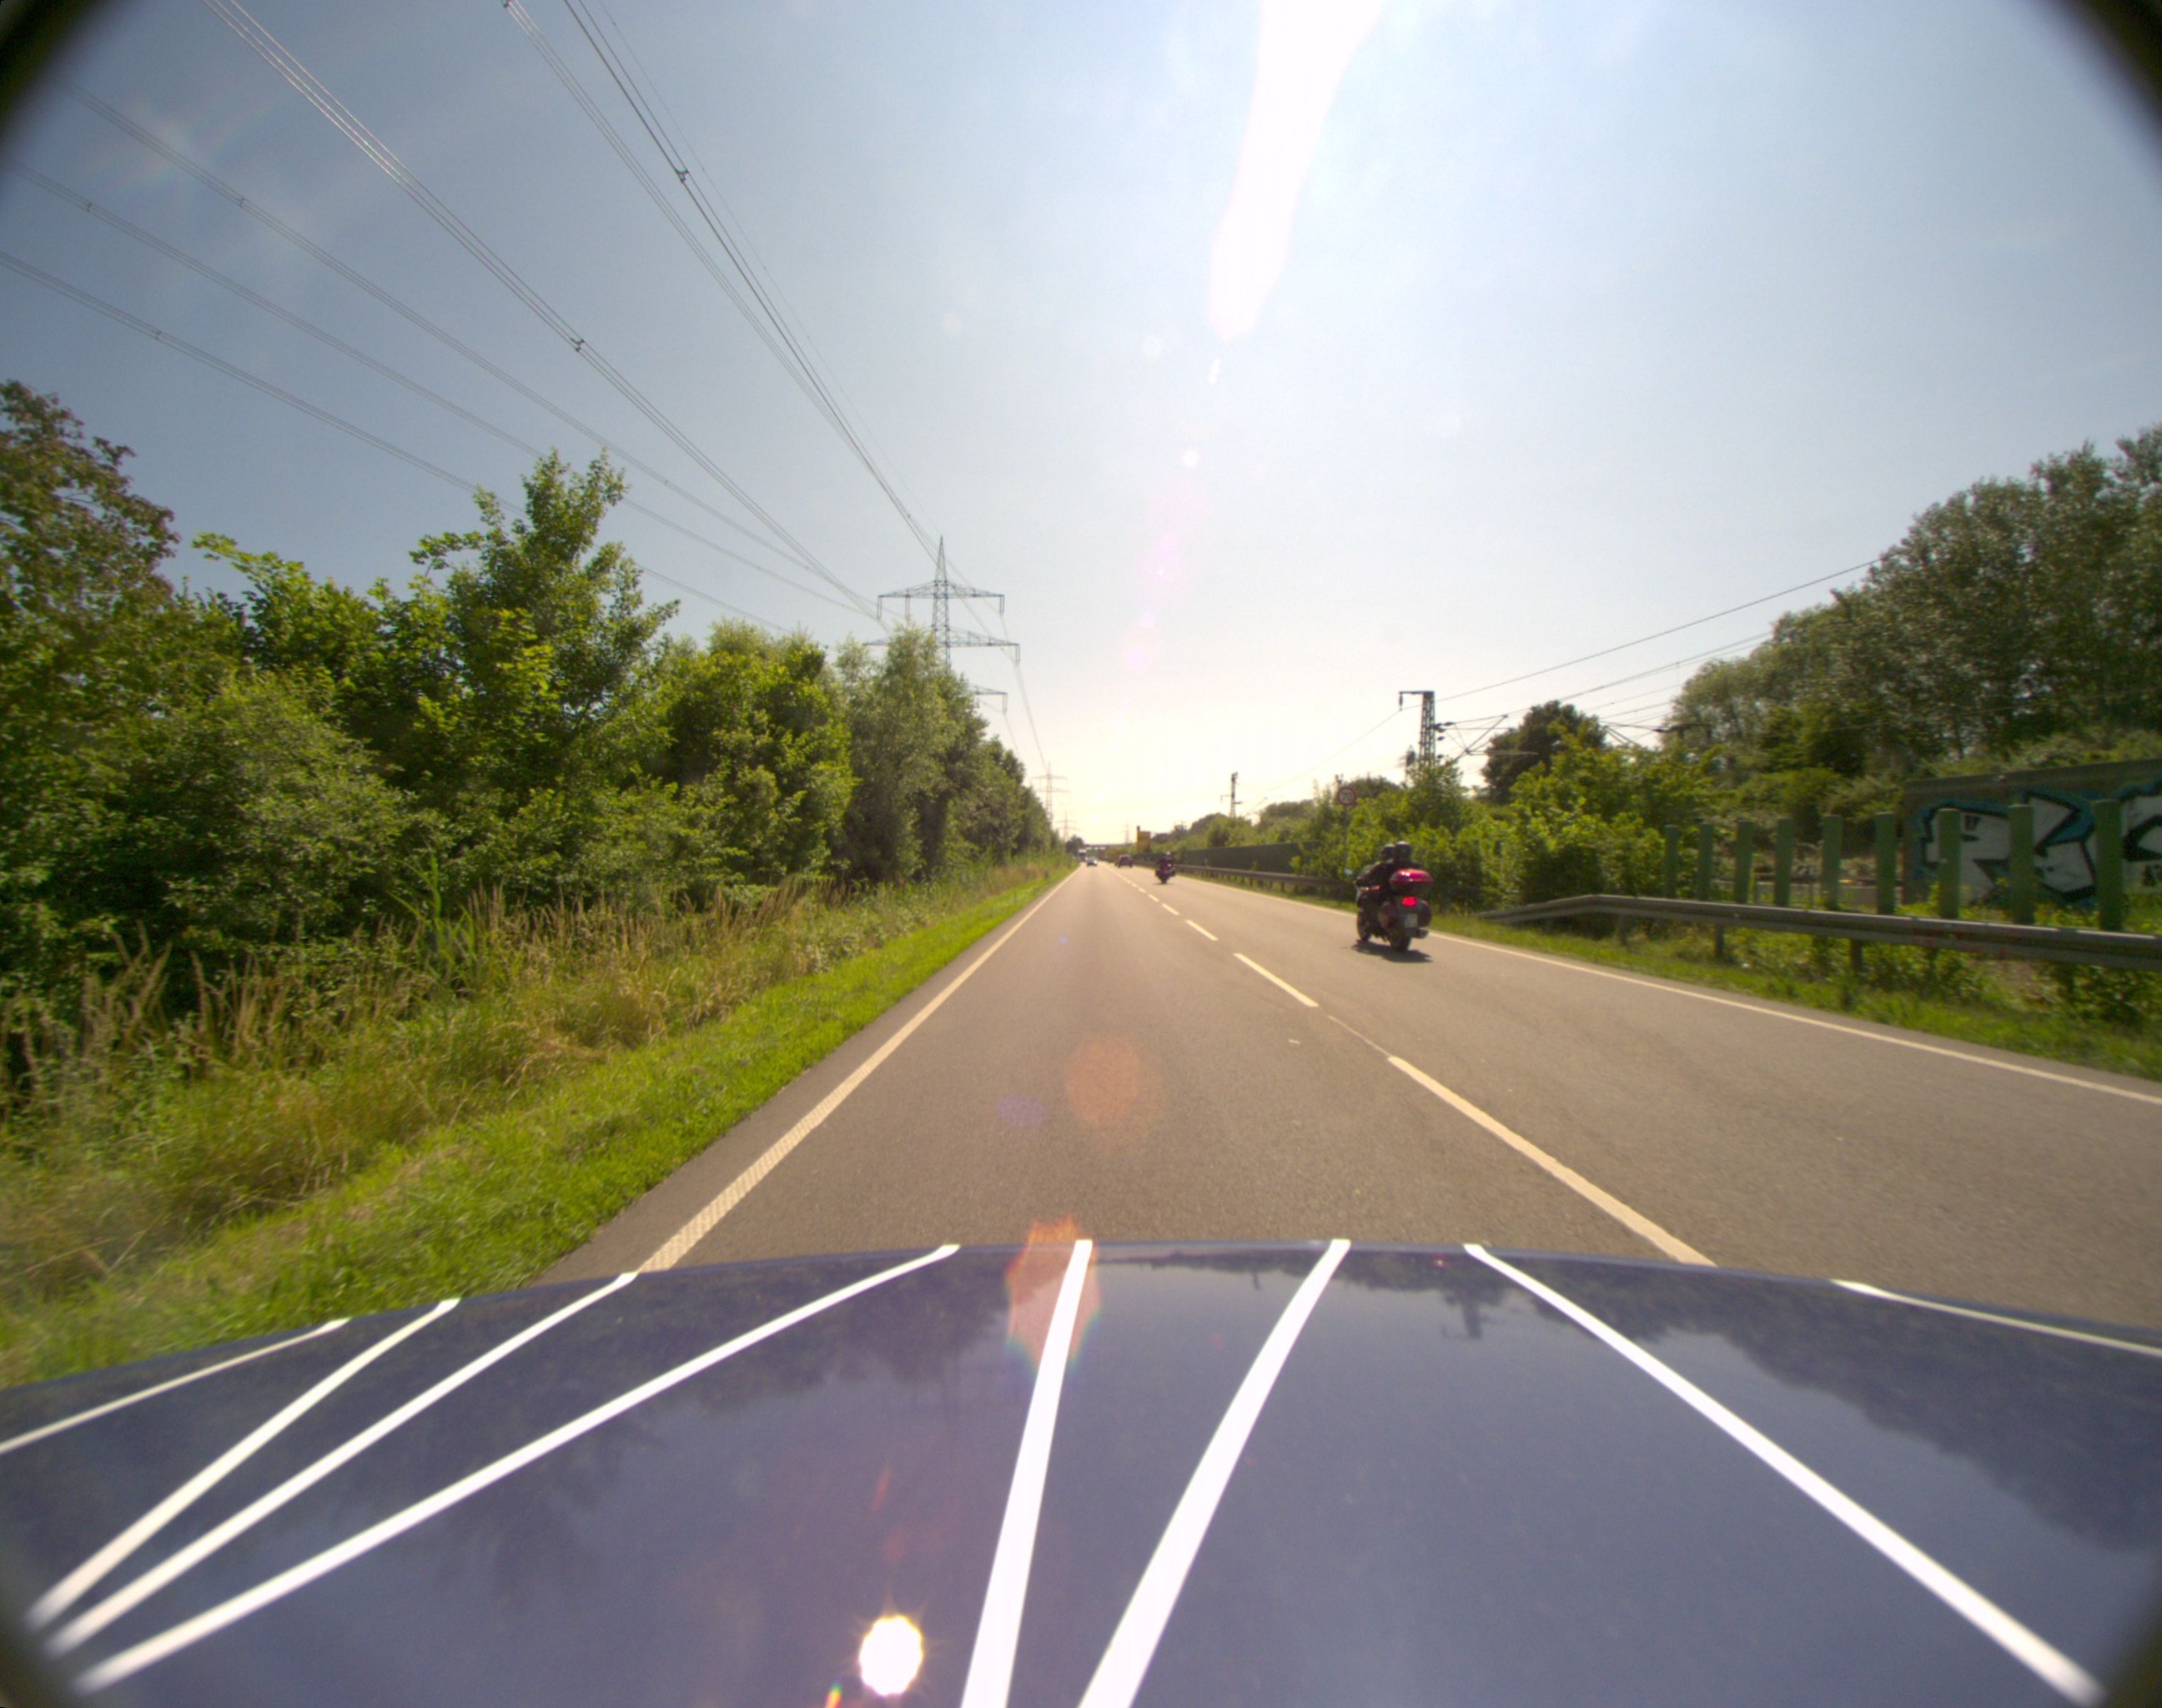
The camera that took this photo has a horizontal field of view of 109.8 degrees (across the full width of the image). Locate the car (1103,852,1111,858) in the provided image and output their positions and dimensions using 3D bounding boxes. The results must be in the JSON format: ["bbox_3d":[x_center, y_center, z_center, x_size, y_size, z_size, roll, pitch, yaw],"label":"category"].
[{"bbox_3d":[6.930,0.149,202.425,1.806,1.578,4.371,-1,0,1],"label":"car"}]

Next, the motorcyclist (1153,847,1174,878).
[{"bbox_3d":[4.464,0.464,41.170,0.961,1.600,1.003,-2,1,2],"label":"motorcyclist"}]

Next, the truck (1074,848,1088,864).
[{"bbox_3d":[-0.018,0.639,239.390,4.219,4.608,21.303,-2,0,0],"label":"truck"}]

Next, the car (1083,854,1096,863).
[{"bbox_3d":[1.417,0.647,121.966,1.998,1.346,4.157,-2,1,0],"label":"car"}]

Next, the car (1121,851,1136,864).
[{"bbox_3d":[6.391,0.434,103.338,1.819,1.684,4.706,-1,0,1],"label":"car"}]

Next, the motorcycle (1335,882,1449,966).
[{"bbox_3d":[4.786,1.026,11.936,0.756,1.008,2.721,-2,1,2],"label":"motorcycle"}]

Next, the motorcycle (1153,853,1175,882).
[{"bbox_3d":[4.461,0.704,40.876,0.970,1.487,2.630,-2,1,2],"label":"motorcycle"}]

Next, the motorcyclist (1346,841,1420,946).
[{"bbox_3d":[4.781,0.602,12.094,0.760,1.574,1.003,-2,1,2],"label":"motorcyclist"}]

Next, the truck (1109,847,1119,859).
[{"bbox_3d":[7.054,-0.202,162.603,1.998,2.334,6.012,-1,0,1],"label":"truck"}]

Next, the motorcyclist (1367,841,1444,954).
[{"bbox_3d":[4.737,0.612,11.143,0.751,1.574,0.863,-2,1,2],"label":"motorcyclist"}]

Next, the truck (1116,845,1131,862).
[{"bbox_3d":[6.836,-0.108,121.959,2.085,2.631,5.704,-1,0,0],"label":"truck"}]

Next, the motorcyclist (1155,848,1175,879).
[{"bbox_3d":[4.423,0.478,40.160,0.961,1.600,1.003,-2,1,2],"label":"motorcyclist"}]
